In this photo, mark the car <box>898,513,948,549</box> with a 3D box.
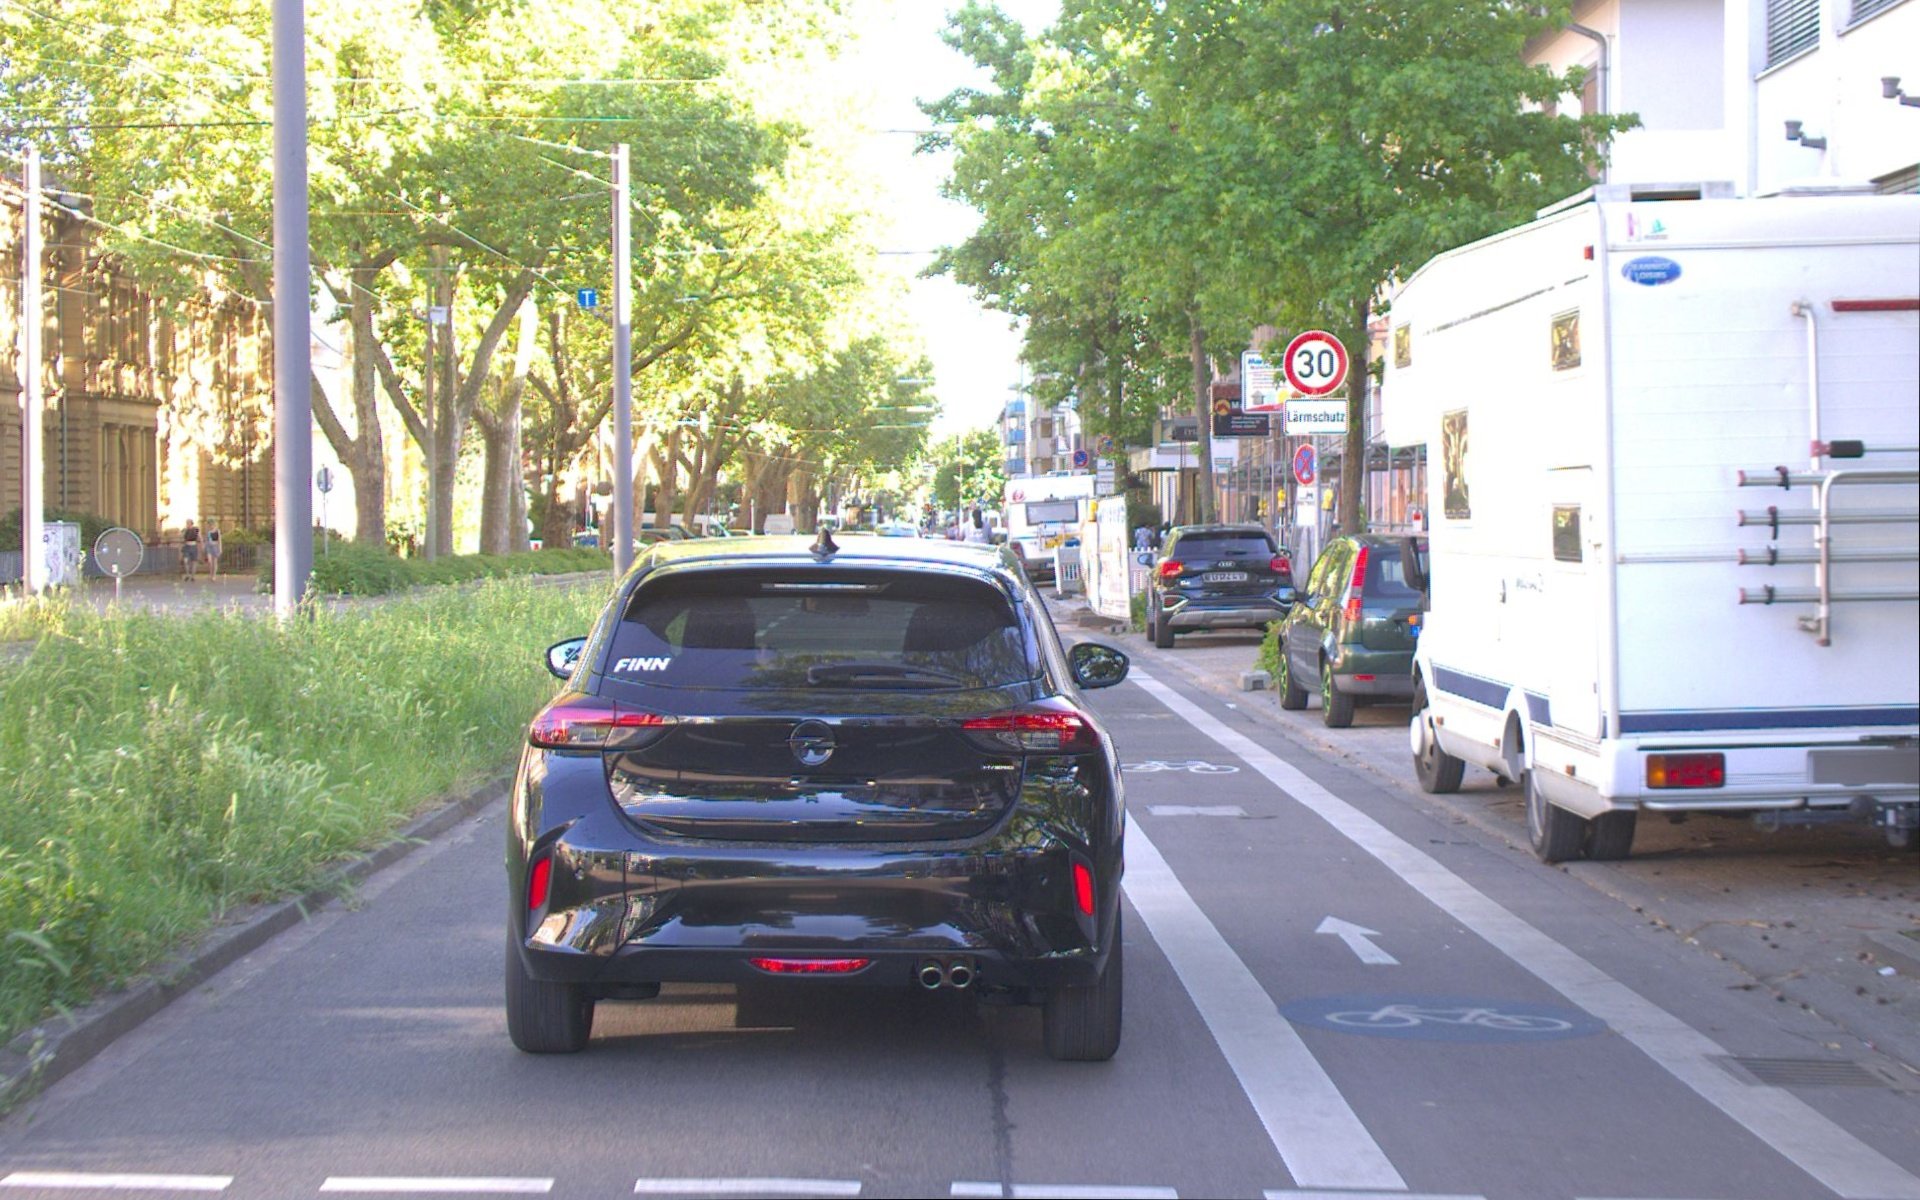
[{"bbox_3d":[-1.499,-2.832,140.792,1.905,1.420,4.215,1,2,1],"label":"car"}]

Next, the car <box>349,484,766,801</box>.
[{"bbox_3d":[-2.311,0.164,20.906,1.993,1.622,4.471,3,2,-1],"label":"car"}]

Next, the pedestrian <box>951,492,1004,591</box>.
[{"bbox_3d":[0.356,-1.215,70.865,1.036,2.017,1.212,1,2,-1],"label":"pedestrian"}]

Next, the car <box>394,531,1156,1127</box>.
[{"bbox_3d":[-0.430,0.535,10.765,1.905,1.420,4.215,1,2,1],"label":"car"}]

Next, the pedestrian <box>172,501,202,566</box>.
[{"bbox_3d":[-21.003,-1.800,93.435,0.618,1.727,0.596,3,1,-1],"label":"pedestrian"}]

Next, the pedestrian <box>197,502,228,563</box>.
[{"bbox_3d":[-20.355,-1.833,93.628,0.658,1.616,0.615,3,1,-1],"label":"pedestrian"}]

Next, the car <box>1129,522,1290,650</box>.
[{"bbox_3d":[3.146,-0.217,43.907,1.790,1.505,3.874,-1,2,1],"label":"car"}]

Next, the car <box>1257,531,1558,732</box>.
[{"bbox_3d":[3.413,0.190,26.892,1.685,1.415,4.049,0,2,-2],"label":"car"}]

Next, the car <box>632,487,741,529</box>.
[{"bbox_3d":[-14.794,-4.982,186.206,5.687,2.190,2.289,1,1,0],"label":"car"}]

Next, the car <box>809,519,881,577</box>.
[{"bbox_3d":[-3.109,-1.426,93.478,1.790,1.505,3.874,-1,2,1],"label":"car"}]

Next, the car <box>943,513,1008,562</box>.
[{"bbox_3d":[0.494,-1.926,104.760,1.905,1.420,4.215,1,2,1],"label":"car"}]

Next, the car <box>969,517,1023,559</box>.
[{"bbox_3d":[1.311,-2.245,124.100,1.905,1.420,4.215,1,2,1],"label":"car"}]

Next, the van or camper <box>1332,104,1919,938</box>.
[{"bbox_3d":[3.517,-0.425,16.812,2.375,3.114,7.552,-2,2,-1],"label":"van or camper"}]

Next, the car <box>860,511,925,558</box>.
[{"bbox_3d":[-2.132,-2.115,109.935,1.905,1.420,4.215,1,2,1],"label":"car"}]

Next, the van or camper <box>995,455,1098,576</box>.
[{"bbox_3d":[2.245,-2.218,90.191,2.486,2.983,5.434,3,1,1],"label":"van or camper"}]
